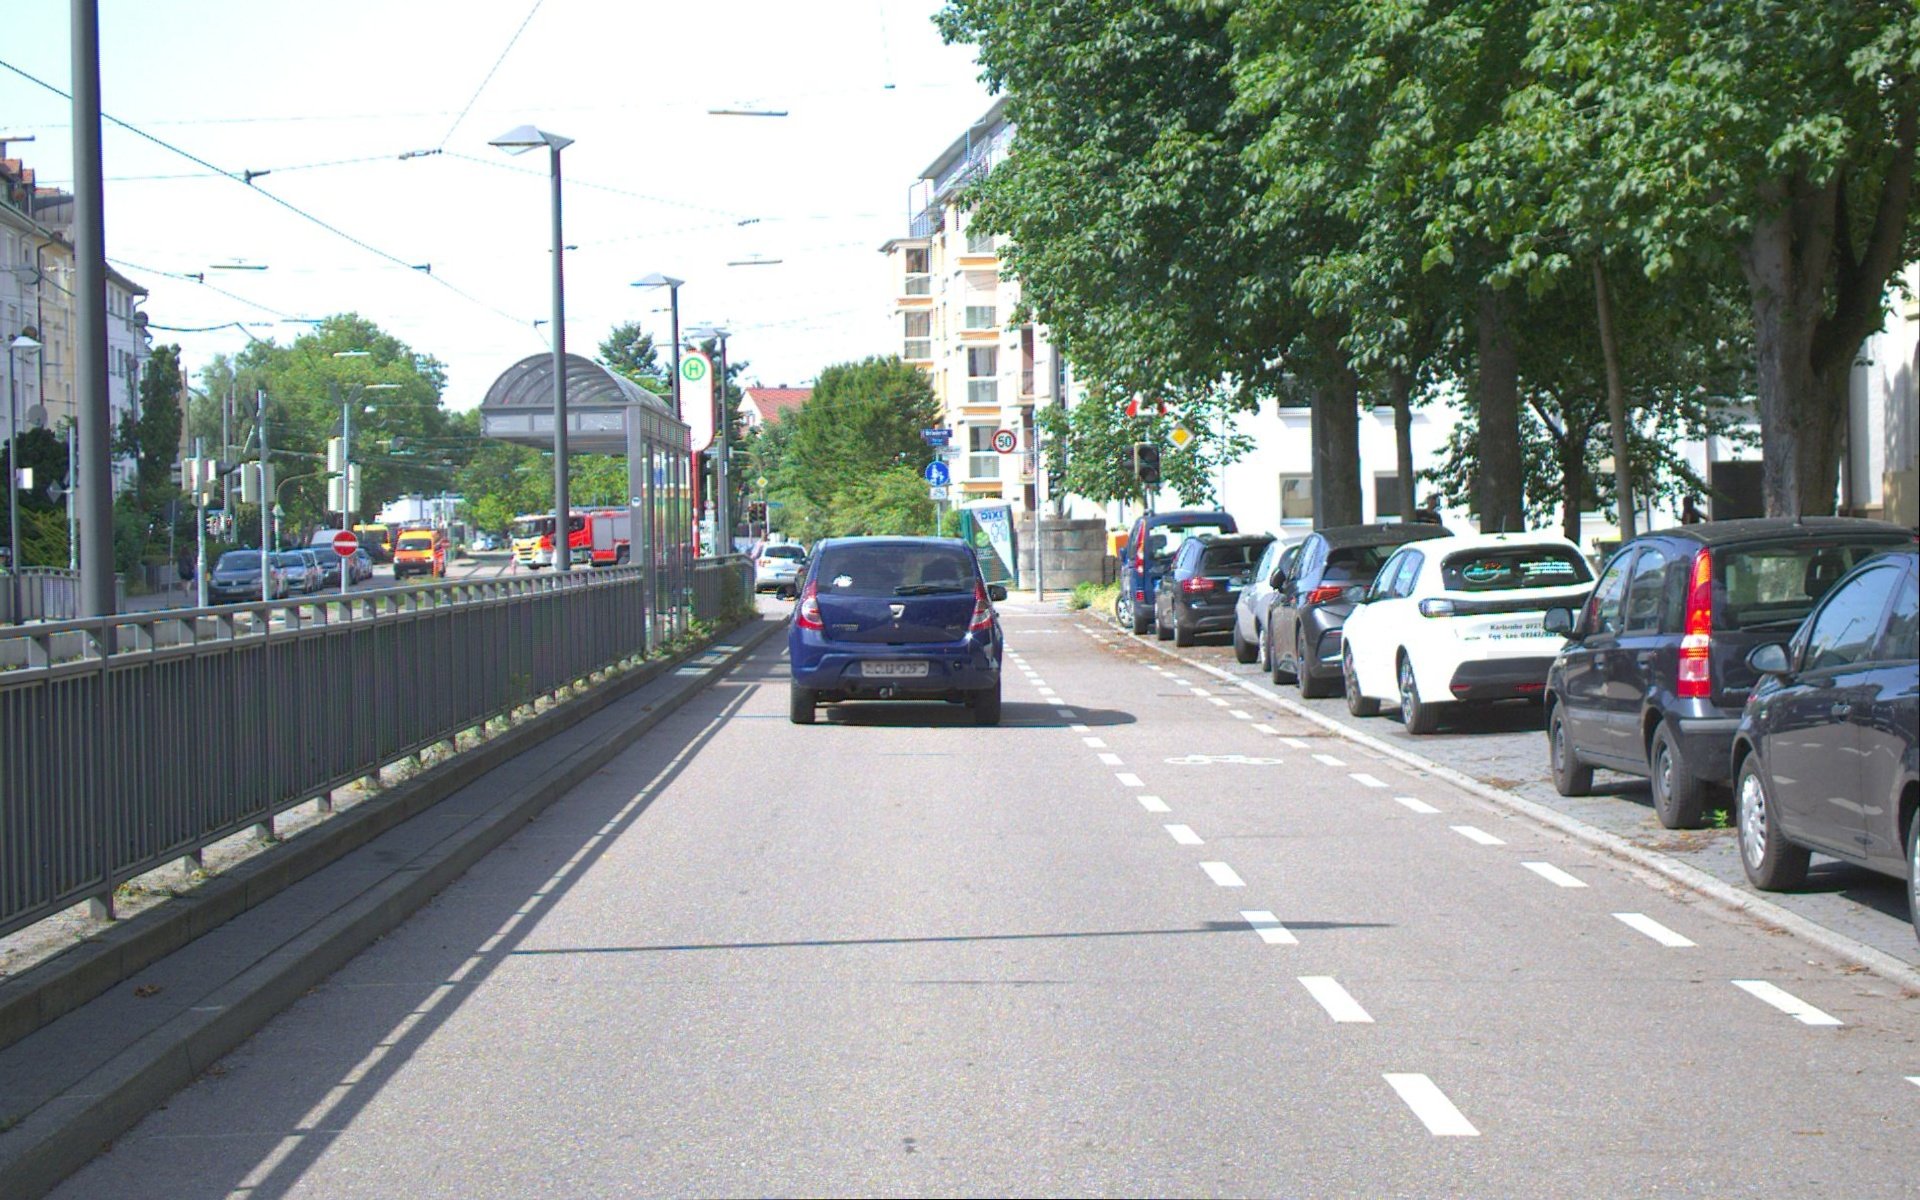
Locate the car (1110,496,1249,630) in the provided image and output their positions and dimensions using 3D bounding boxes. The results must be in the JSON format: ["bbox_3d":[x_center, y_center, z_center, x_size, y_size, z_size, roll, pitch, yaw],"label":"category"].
[{"bbox_3d":[3.307,-0.597,52.511,1.823,1.889,4.184,-2,2,1],"label":"car"}]

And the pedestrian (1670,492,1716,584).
[{"bbox_3d":[12.903,-1.088,60.497,0.631,1.590,0.540,-1,0,-4],"label":"pedestrian"}]

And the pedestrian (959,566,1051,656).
[{"bbox_3d":[1.010,0.235,79.351,1.993,2.007,4.000,1,0,-1],"label":"pedestrian"}]

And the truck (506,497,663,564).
[{"bbox_3d":[-19.870,-3.698,182.503,2.603,3.175,8.361,-2,1,45],"label":"truck"}]

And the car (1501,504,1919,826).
[{"bbox_3d":[4.108,0.294,18.415,1.555,1.456,3.559,-5,1,-3],"label":"car"}]

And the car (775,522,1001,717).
[{"bbox_3d":[-0.616,0.134,28.778,1.744,1.502,4.000,1,0,-2],"label":"car"}]

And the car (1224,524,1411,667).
[{"bbox_3d":[3.919,-0.071,38.163,1.590,1.440,3.598,-3,1,-1],"label":"car"}]

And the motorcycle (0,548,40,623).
[{"bbox_3d":[-17.605,-0.262,62.574,1.014,1.334,2.517,-2,1,0],"label":"motorcycle"}]

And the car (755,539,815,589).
[{"bbox_3d":[-5.231,-1.068,102.371,1.622,1.460,3.511,0,0,-5],"label":"car"}]

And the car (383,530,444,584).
[{"bbox_3d":[-24.928,-1.967,156.609,1.993,2.267,4.835,3,1,-17],"label":"car"}]

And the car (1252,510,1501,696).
[{"bbox_3d":[3.884,-0.025,32.750,1.725,1.578,4.677,-2,1,0],"label":"car"}]

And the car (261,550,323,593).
[{"bbox_3d":[-22.884,-0.985,117.810,1.768,1.437,4.001,0,0,-7],"label":"car"}]

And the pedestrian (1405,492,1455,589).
[{"bbox_3d":[8.329,-1.054,60.915,0.744,1.690,0.767,-2,1,0],"label":"pedestrian"}]

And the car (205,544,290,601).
[{"bbox_3d":[-21.096,-0.827,101.893,1.993,1.639,4.001,1,0,-5],"label":"car"}]

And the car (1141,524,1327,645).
[{"bbox_3d":[3.699,-0.254,47.162,1.917,1.437,4.797,-4,2,-2],"label":"car"}]

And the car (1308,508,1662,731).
[{"bbox_3d":[4.039,0.106,27.152,1.835,1.518,4.254,-3,1,-3],"label":"car"}]

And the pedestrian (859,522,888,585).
[{"bbox_3d":[-2.529,-1.361,100.439,0.701,1.783,1.030,-4,1,-4],"label":"pedestrian"}]

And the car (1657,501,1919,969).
[{"bbox_3d":[4.050,0.399,13.218,1.690,1.556,4.308,-4,1,-1],"label":"car"}]

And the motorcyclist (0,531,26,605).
[{"bbox_3d":[-17.633,-0.573,62.589,0.938,1.334,0.986,-2,1,0],"label":"motorcyclist"}]
